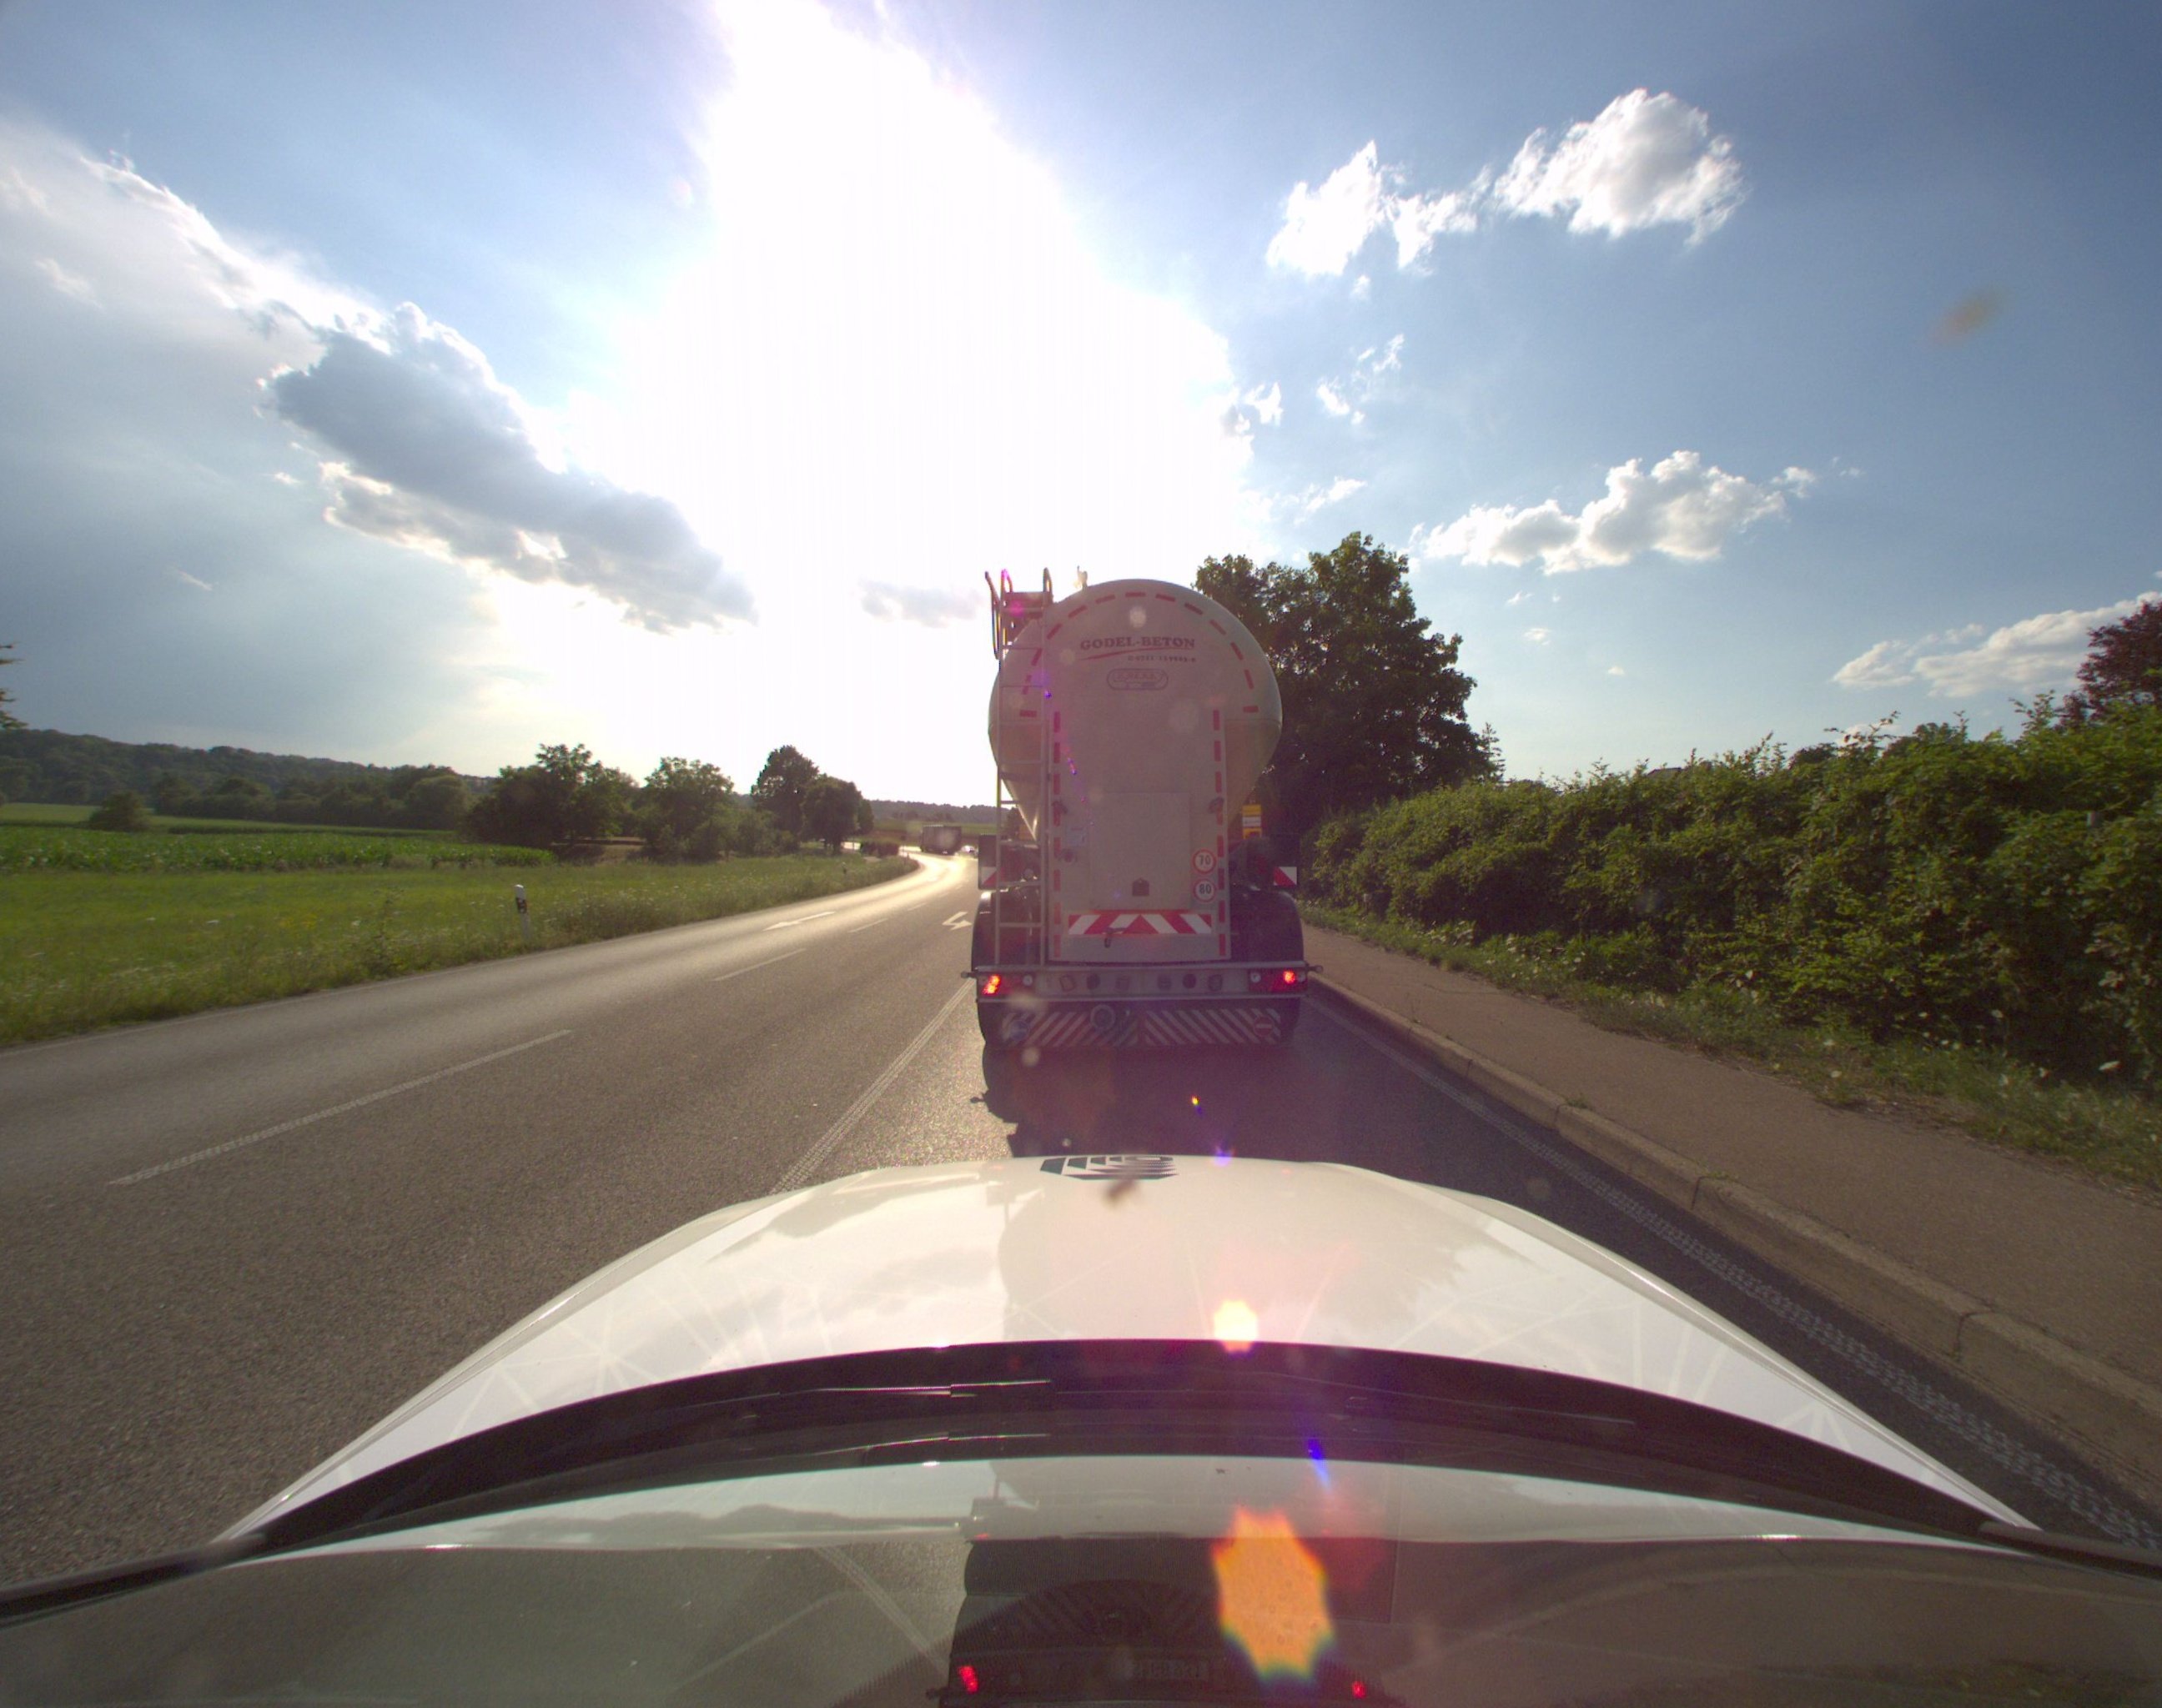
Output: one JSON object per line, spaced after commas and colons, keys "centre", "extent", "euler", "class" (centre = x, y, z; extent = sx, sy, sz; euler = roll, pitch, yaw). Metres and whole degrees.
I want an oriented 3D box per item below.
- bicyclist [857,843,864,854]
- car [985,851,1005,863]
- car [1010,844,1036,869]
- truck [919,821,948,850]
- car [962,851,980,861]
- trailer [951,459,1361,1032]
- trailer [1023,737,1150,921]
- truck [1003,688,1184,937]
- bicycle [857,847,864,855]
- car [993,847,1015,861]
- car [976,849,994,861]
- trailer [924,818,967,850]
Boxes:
{"centre": [-28.463, -0.668, 105.111], "extent": [0.634, 1.419, 0.689], "euler": [2, 0, -7], "class": "bicyclist"}
{"centre": [-9.329, 0.319, 88.110], "extent": [1.583, 1.341, 3.407], "euler": [1, 0, -16], "class": "car"}
{"centre": [-4.867, 0.192, 67.458], "extent": [1.861, 2.013, 3.708], "euler": [0, 0, -9], "class": "car"}
{"centre": [-23.173, -2.826, 128.011], "extent": [3.388, 4.350, 5.665], "euler": [1, 0, -21], "class": "truck"}
{"centre": [-13.859, 0.270, 102.620], "extent": [1.773, 1.205, 3.407], "euler": [-1, 1, -16], "class": "car"}
{"centre": [0.327, -0.770, 10.738], "extent": [2.903, 4.006, 9.919], "euler": [0, 0, -3], "class": "trailer"}
{"centre": [0.381, -0.620, 26.364], "extent": [2.943, 4.315, 14.182], "euler": [1, 0, 2], "class": "trailer"}
{"centre": [0.116, -0.681, 15.189], "extent": [2.903, 4.006, 4.055], "euler": [0, 0, -3], "class": "truck"}
{"centre": [-28.468, -0.411, 105.102], "extent": [0.634, 1.074, 1.667], "euler": [2, 0, -6], "class": "bicycle"}
{"centre": [-7.739, -0.018, 81.843], "extent": [1.583, 1.341, 3.407], "euler": [1, 0, -16], "class": "car"}
{"centre": [-11.365, 0.111, 96.322], "extent": [1.583, 1.341, 3.407], "euler": [1, 0, -16], "class": "car"}
{"centre": [-20.191, -2.794, 120.289], "extent": [3.388, 4.350, 14.192], "euler": [1, 0, -21], "class": "trailer"}
